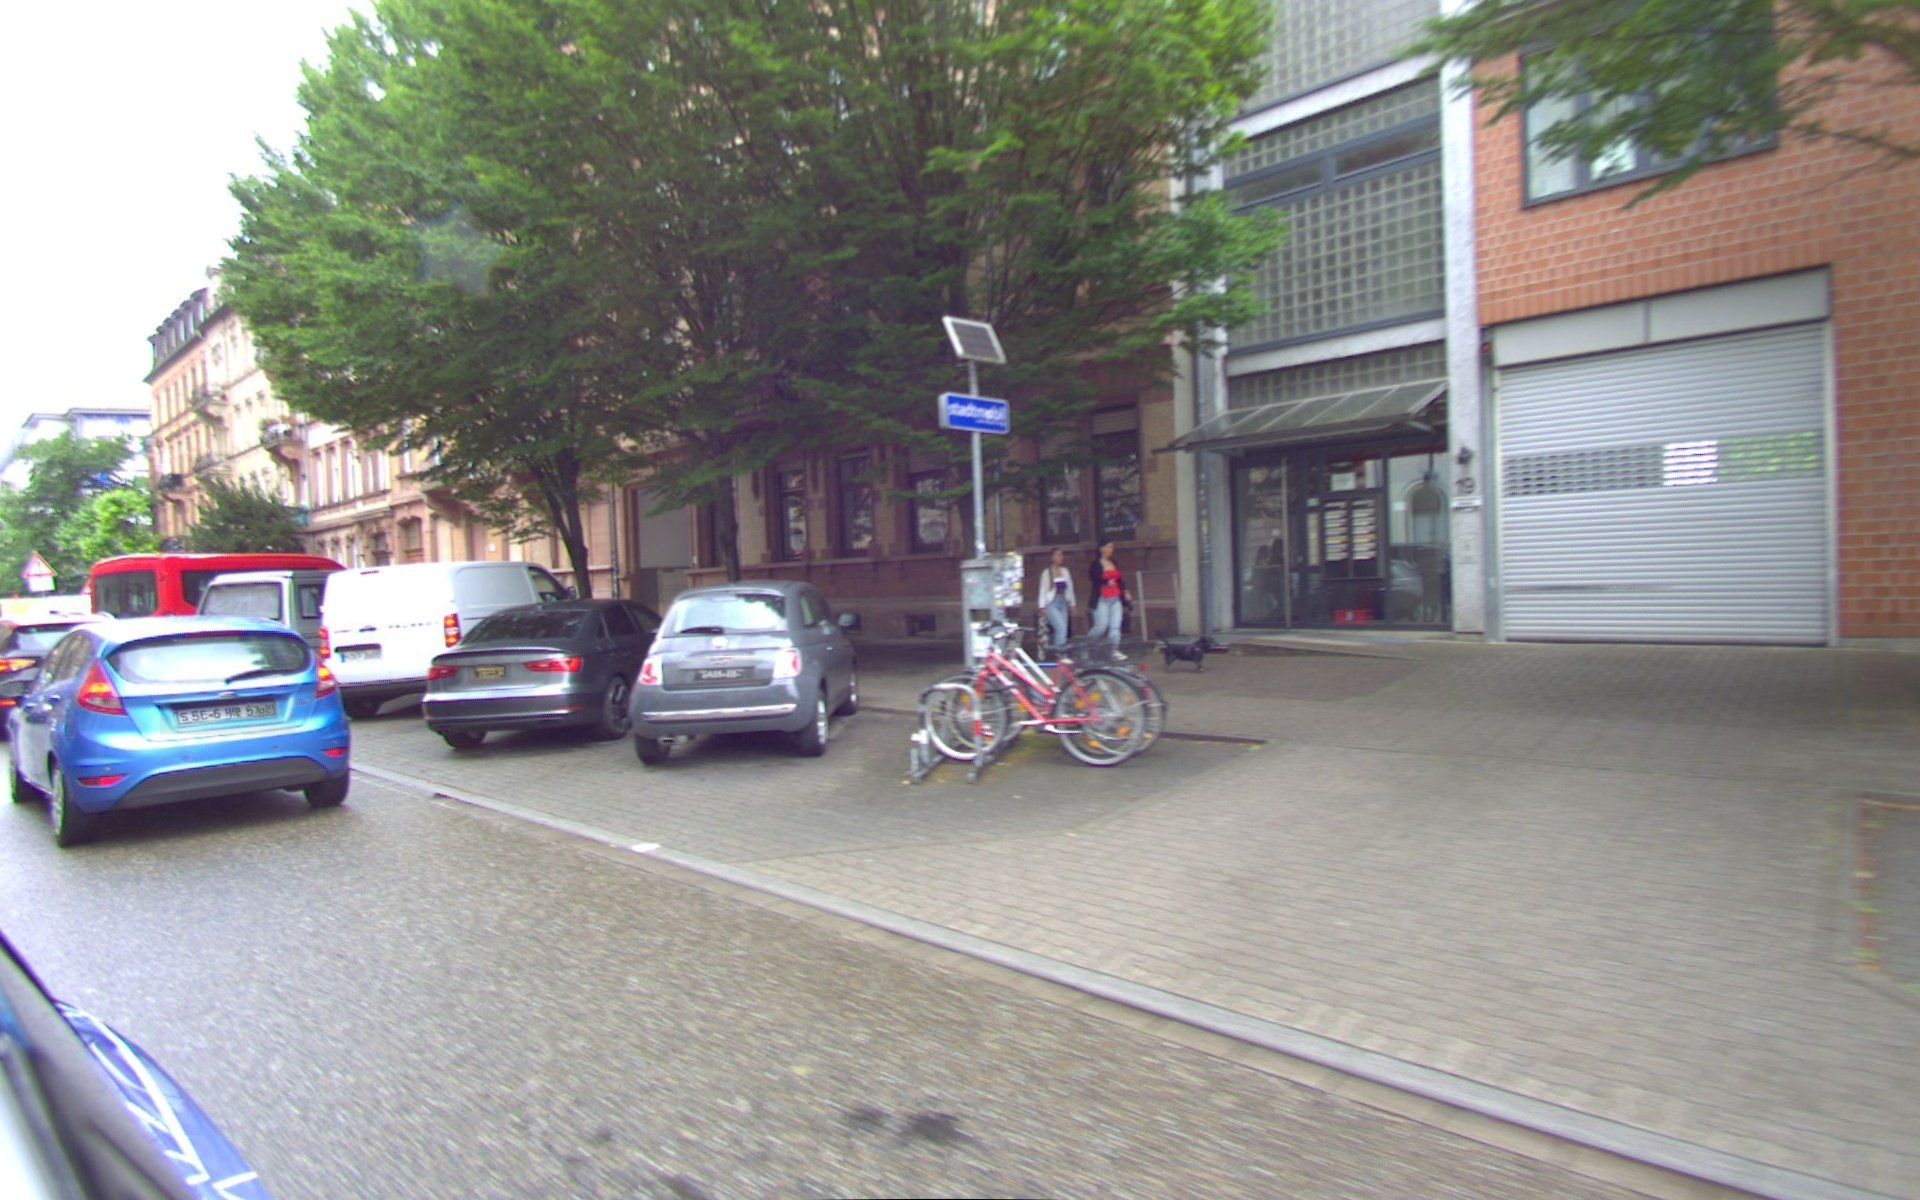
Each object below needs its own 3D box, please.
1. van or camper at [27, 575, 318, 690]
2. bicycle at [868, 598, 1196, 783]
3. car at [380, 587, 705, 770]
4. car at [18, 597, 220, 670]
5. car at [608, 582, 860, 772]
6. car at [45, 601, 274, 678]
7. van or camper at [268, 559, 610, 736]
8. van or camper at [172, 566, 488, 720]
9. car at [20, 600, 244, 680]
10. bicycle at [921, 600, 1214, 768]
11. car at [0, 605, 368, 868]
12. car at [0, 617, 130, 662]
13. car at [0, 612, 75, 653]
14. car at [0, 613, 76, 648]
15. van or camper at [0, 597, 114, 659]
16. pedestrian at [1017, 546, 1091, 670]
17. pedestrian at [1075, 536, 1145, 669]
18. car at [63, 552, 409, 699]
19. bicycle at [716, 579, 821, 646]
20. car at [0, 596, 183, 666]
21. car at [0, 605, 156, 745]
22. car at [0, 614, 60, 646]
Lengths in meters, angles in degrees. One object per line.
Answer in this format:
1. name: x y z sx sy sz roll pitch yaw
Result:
1. van or camper: -18.462 0.656 24.100 2.324 2.366 5.000 -3 1 16
2. bicycle: 0.499 0.637 7.345 2.208 1.166 0.744 -3 1 27
3. car: -4.271 0.691 11.122 1.744 1.457 3.977 -3 2 2
4. car: -26.753 0.999 32.292 2.544 1.798 4.532 -2 4 41
5. car: -1.945 0.598 9.685 1.628 1.446 3.480 -2 0 0
6. car: -20.545 0.952 26.220 1.741 1.515 4.330 -3 2 20
7. van or camper: -7.038 0.479 14.444 2.305 1.967 4.698 -4 2 1
8. van or camper: -9.815 0.543 16.298 1.761 1.989 4.437 -2 3 9
9. car: -22.479 1.018 27.733 1.828 1.642 4.424 -3 3 16
10. bicycle: 0.838 0.655 8.053 2.135 1.166 0.777 -3 1 27
11. car: -6.221 0.825 7.815 4.002 1.476 1.652 -1 1 41
12. car: -35.000 1.496 39.290 1.767 1.446 3.983 -2 1 13
13. car: -47.975 1.674 51.549 1.779 1.674 4.132 -3 4 6
14. car: -51.903 1.733 55.633 1.977 1.574 4.715 -4 3 8
15. van or camper: -39.473 1.182 43.220 2.161 2.284 4.714 -4 3 10
16. pedestrian: 1.218 0.098 13.020 0.586 1.507 0.682 -2 4 37
17. pedestrian: 1.909 0.026 12.884 0.588 1.613 0.562 -2 4 37
18. car: -14.413 0.388 20.718 2.208 2.560 5.548 -3 1 15
19. bicycle: -3.846 0.254 20.174 2.413 1.202 0.660 -2 5 43
20. car: -30.897 1.033 35.799 1.854 2.093 5.224 -1 2 17
21. car: -12.218 0.901 13.567 4.003 1.571 1.651 -1 1 43
22. car: -55.478 1.782 58.864 1.975 1.574 4.451 -1 3 6
